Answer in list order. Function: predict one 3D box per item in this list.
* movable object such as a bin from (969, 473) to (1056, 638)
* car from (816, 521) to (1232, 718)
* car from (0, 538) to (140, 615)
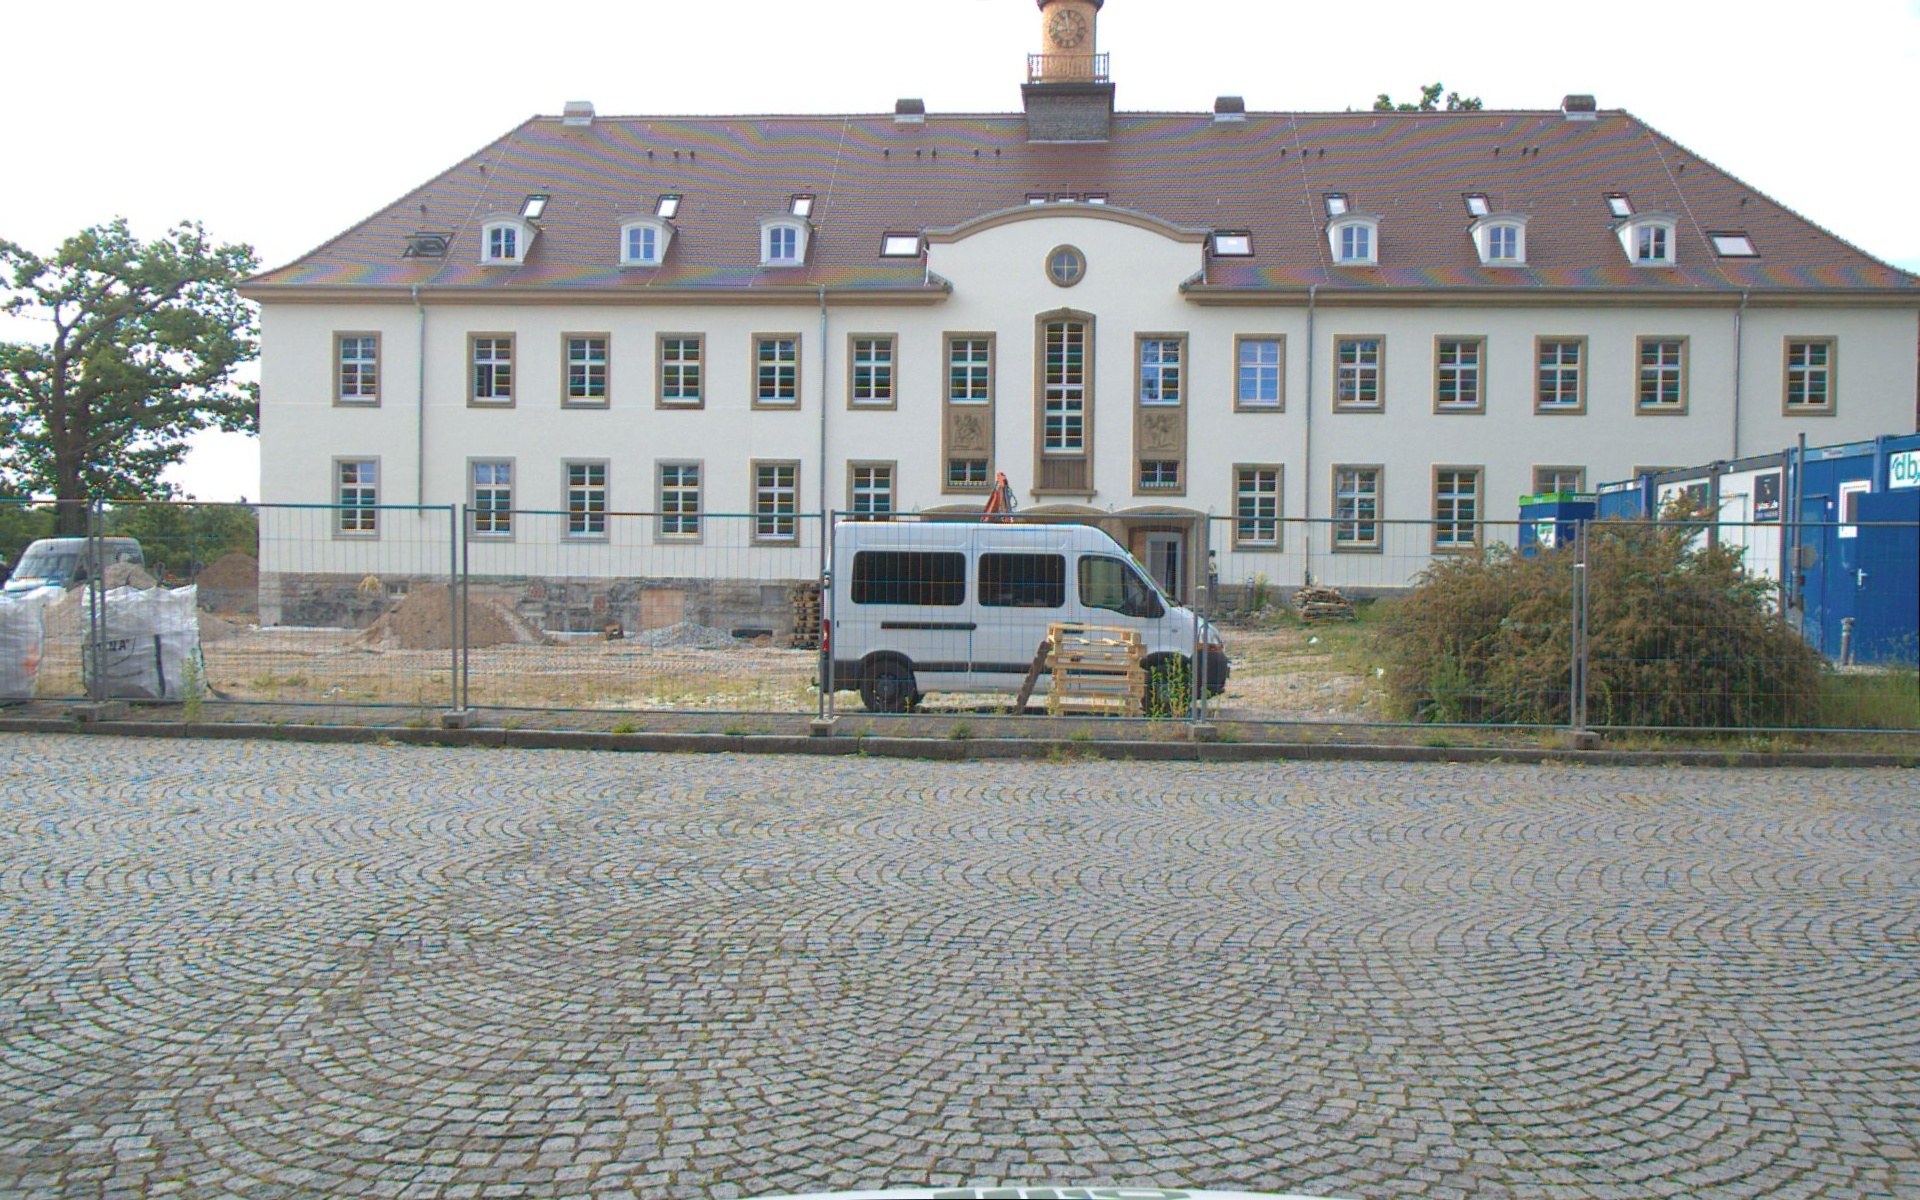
[{"bbox_3d":[1.232,-1.070,41.209,1.953,3.837,5.318,1,1,0],"label":"movable object such as a bin"},{"bbox_3d":[0.853,0.215,21.529,5.151,2.385,1.911,1,0,5],"label":"car"},{"bbox_3d":[-26.819,-0.709,49.765,2.026,2.188,4.897,0,1,-3],"label":"car"}]
